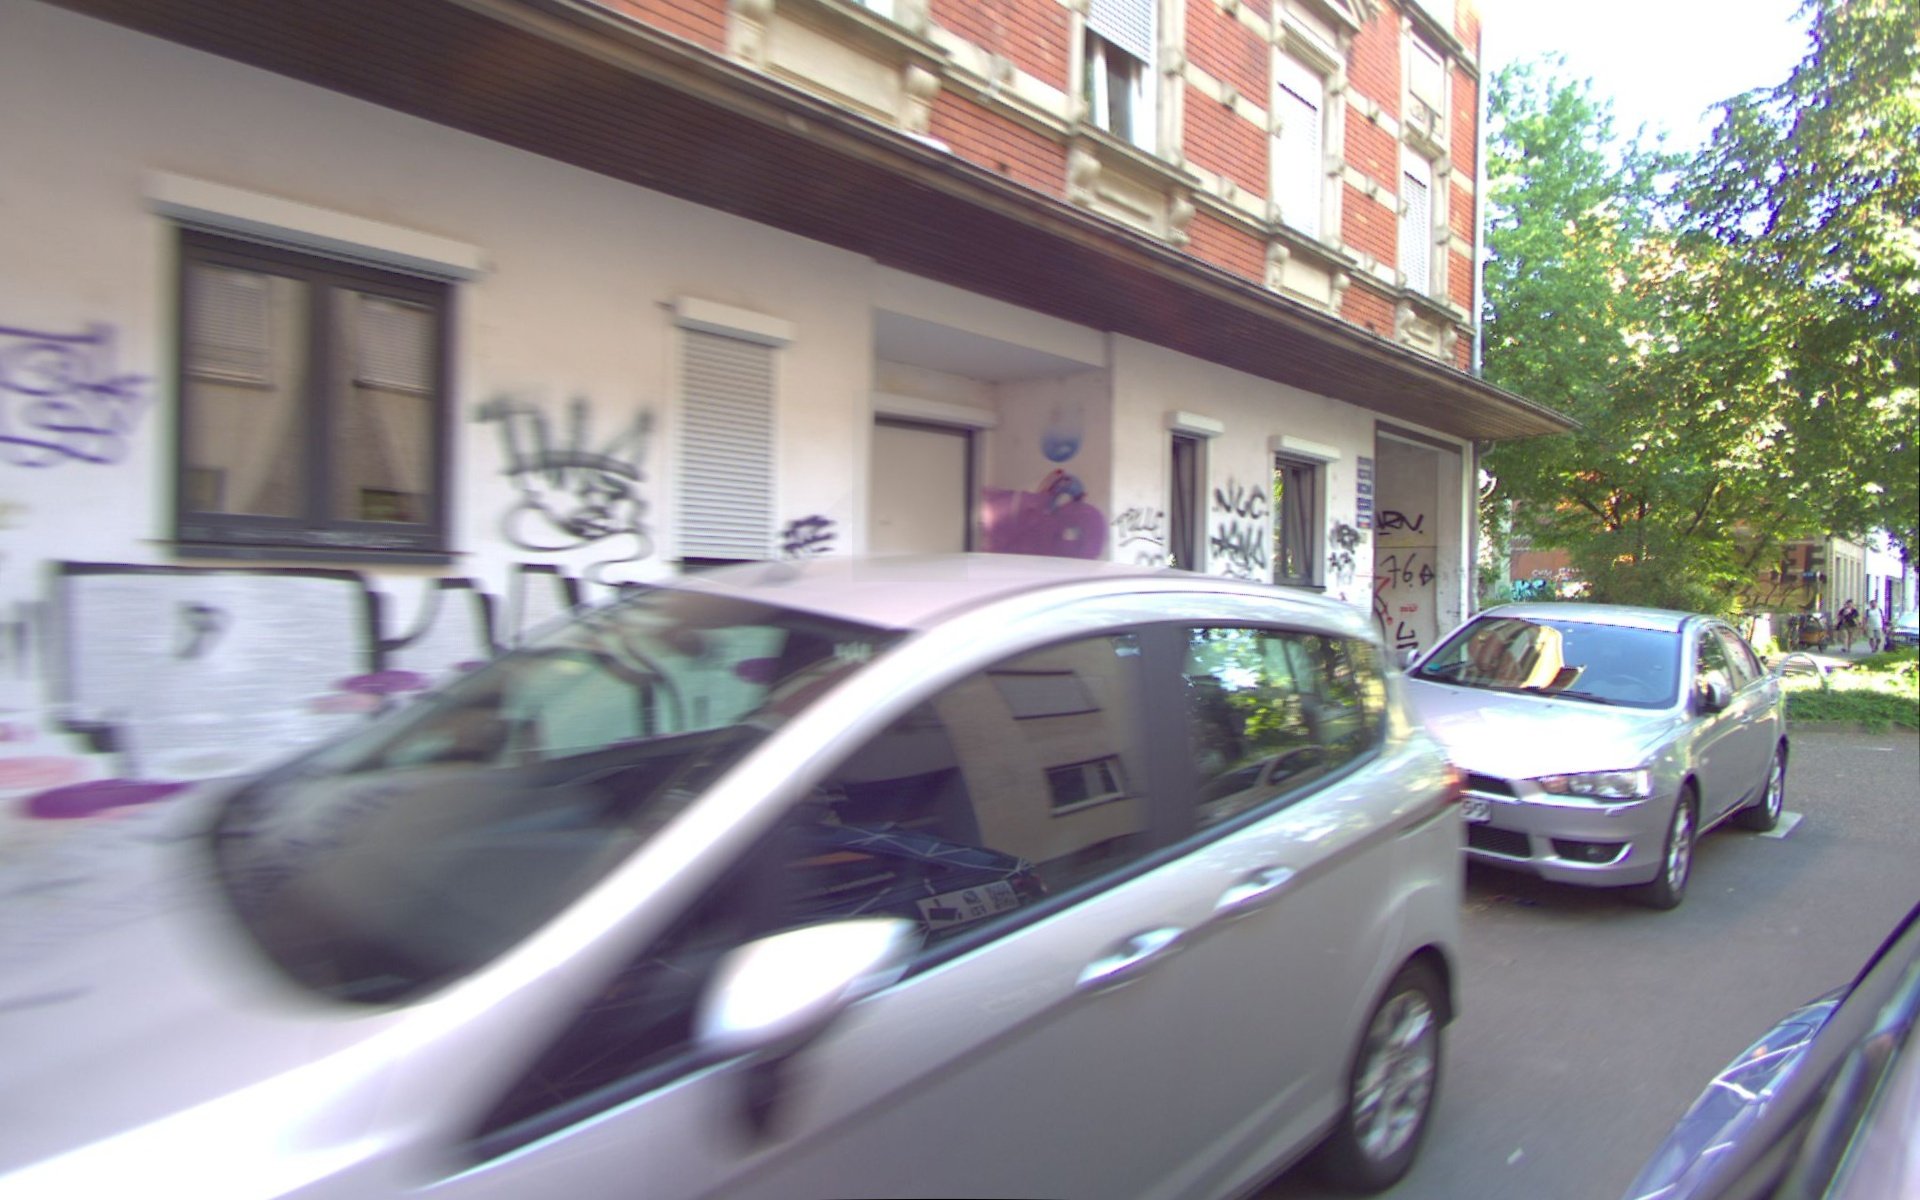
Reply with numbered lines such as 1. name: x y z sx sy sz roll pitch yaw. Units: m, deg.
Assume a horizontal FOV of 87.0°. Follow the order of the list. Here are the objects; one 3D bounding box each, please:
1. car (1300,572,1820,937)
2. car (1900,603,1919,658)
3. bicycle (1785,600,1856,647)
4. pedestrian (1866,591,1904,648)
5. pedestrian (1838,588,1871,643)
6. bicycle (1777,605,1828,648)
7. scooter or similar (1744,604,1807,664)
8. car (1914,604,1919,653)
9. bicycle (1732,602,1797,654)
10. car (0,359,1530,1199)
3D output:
1. car: 4.087 0.678 6.529 4.324 1.582 1.723 1 1 -43
2. car: 28.752 0.906 29.492 4.340 1.512 1.723 0 3 -44
3. bicycle: 27.147 0.724 31.921 2.285 1.317 1.294 1 3 -40
4. pedestrian: 29.325 0.620 32.093 0.739 1.729 0.711 1 4 -43
5. pedestrian: 28.756 0.493 32.541 0.694 1.729 0.598 1 4 -43
6. bicycle: 25.180 0.793 30.222 1.947 1.216 0.848 1 1 -41
7. scooter or similar: 18.751 0.753 23.302 0.539 1.277 1.466 3 2 16
8. car: 32.230 0.946 32.704 4.279 1.512 1.662 0 3 -43
9. bicycle: 21.171 0.730 26.602 2.645 1.283 0.848 1 1 -41
10. car: -0.290 0.630 2.319 3.803 1.677 1.642 0 1 -42
